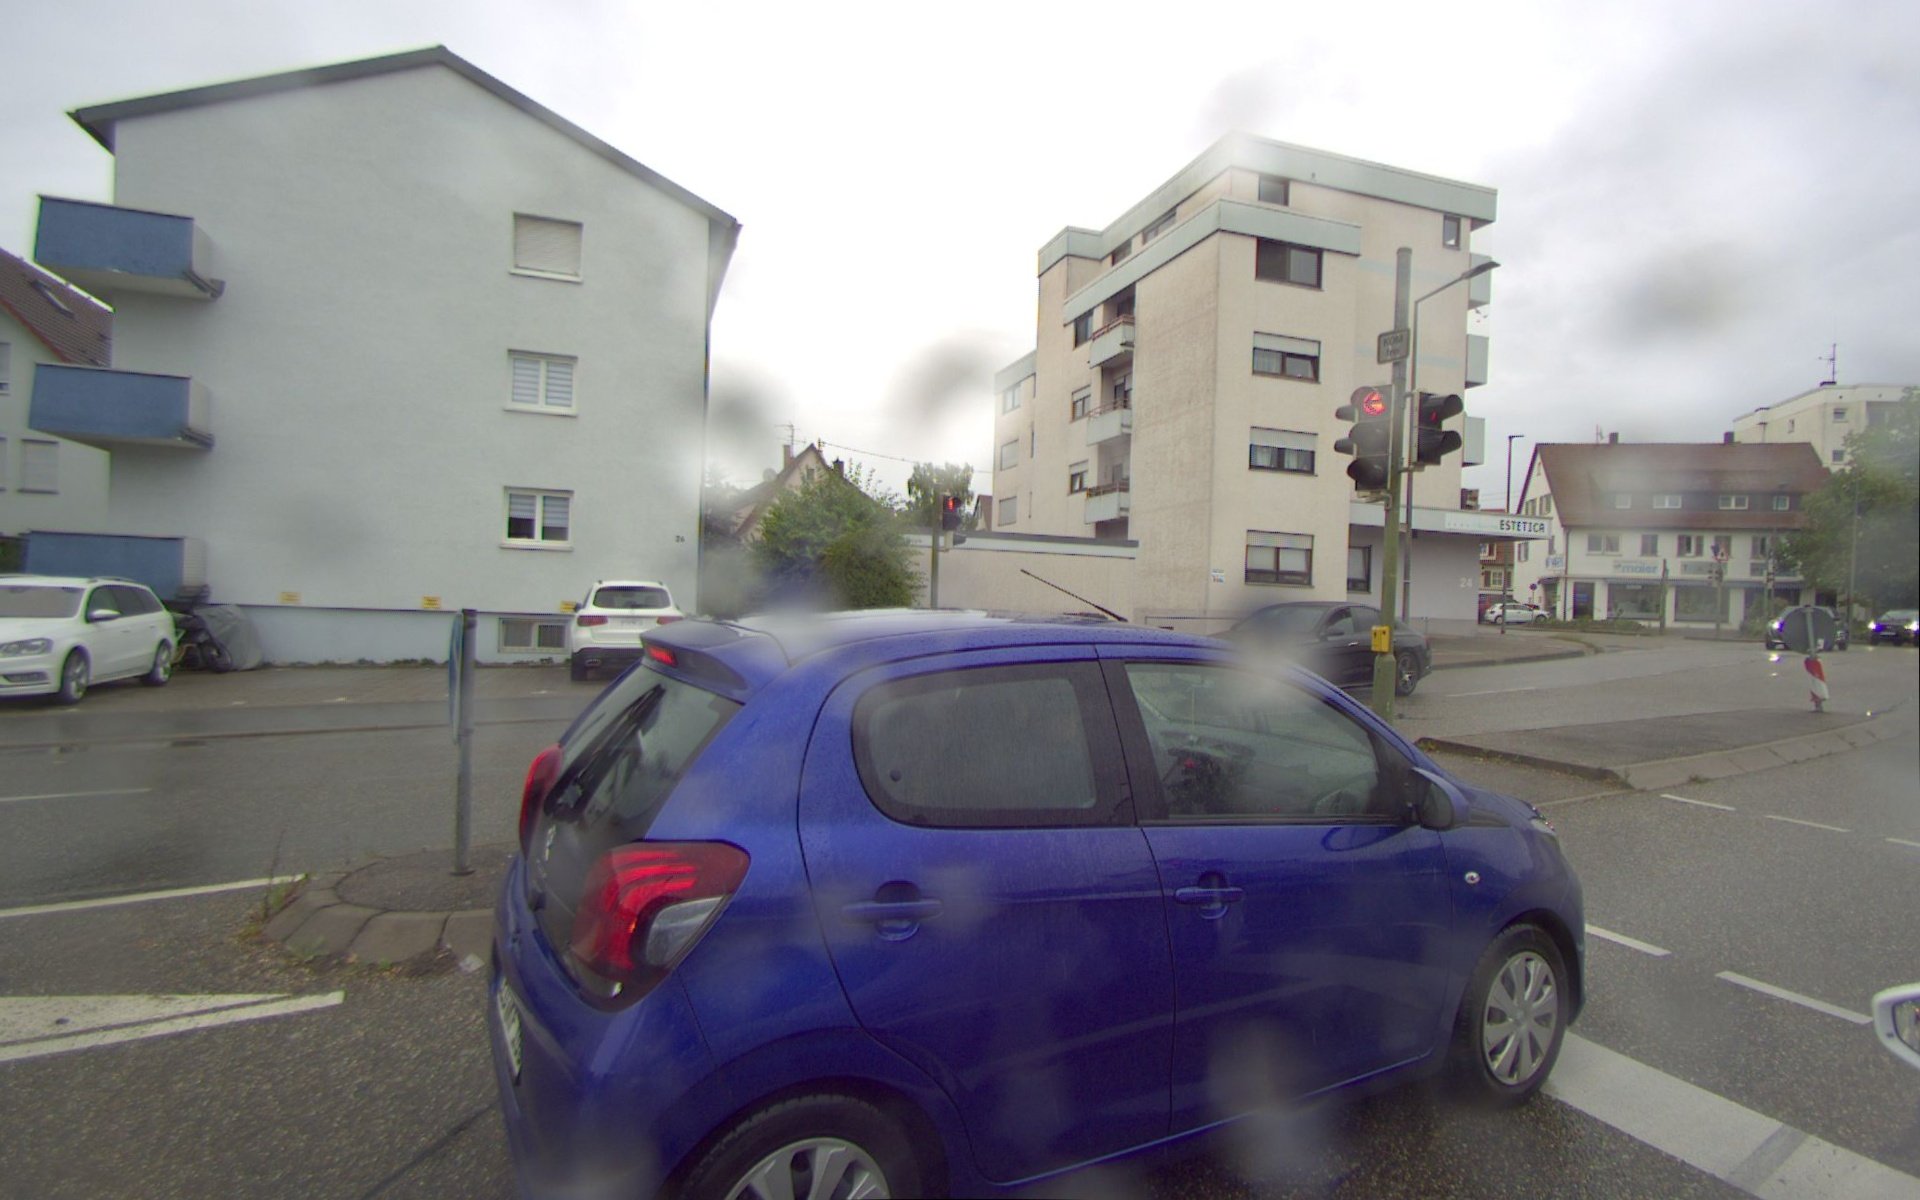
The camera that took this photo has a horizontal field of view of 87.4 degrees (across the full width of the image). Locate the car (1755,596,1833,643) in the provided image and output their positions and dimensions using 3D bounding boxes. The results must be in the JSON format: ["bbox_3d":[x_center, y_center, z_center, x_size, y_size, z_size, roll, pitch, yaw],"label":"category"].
[{"bbox_3d":[29.303,0.694,35.244,1.945,1.532,3.979,2,0,42],"label":"car"}]

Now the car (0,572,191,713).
[{"bbox_3d":[-11.491,0.455,12.502,1.854,1.480,4.732,1,-1,-23],"label":"car"}]

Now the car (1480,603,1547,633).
[{"bbox_3d":[37.915,1.236,68.889,3.611,1.946,1.889,2,0,14],"label":"car"}]

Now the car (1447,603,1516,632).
[{"bbox_3d":[37.208,1.241,71.719,3.987,1.868,1.889,2,0,14],"label":"car"}]

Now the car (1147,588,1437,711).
[{"bbox_3d":[5.239,0.714,15.640,4.494,1.646,1.980,2,0,-35],"label":"car"}]

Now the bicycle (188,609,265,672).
[{"bbox_3d":[-12.704,0.688,17.418,1.053,1.067,0.345,0,1,-30],"label":"bicycle"}]

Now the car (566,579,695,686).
[{"bbox_3d":[-5.773,0.509,17.572,1.884,1.637,3.983,2,0,-19],"label":"car"}]

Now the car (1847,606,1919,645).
[{"bbox_3d":[41.299,1.158,44.664,4.142,1.618,1.867,2,0,-35],"label":"car"}]

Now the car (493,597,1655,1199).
[{"bbox_3d":[0.458,0.742,3.096,3.324,1.432,1.498,1,1,-30],"label":"car"}]
